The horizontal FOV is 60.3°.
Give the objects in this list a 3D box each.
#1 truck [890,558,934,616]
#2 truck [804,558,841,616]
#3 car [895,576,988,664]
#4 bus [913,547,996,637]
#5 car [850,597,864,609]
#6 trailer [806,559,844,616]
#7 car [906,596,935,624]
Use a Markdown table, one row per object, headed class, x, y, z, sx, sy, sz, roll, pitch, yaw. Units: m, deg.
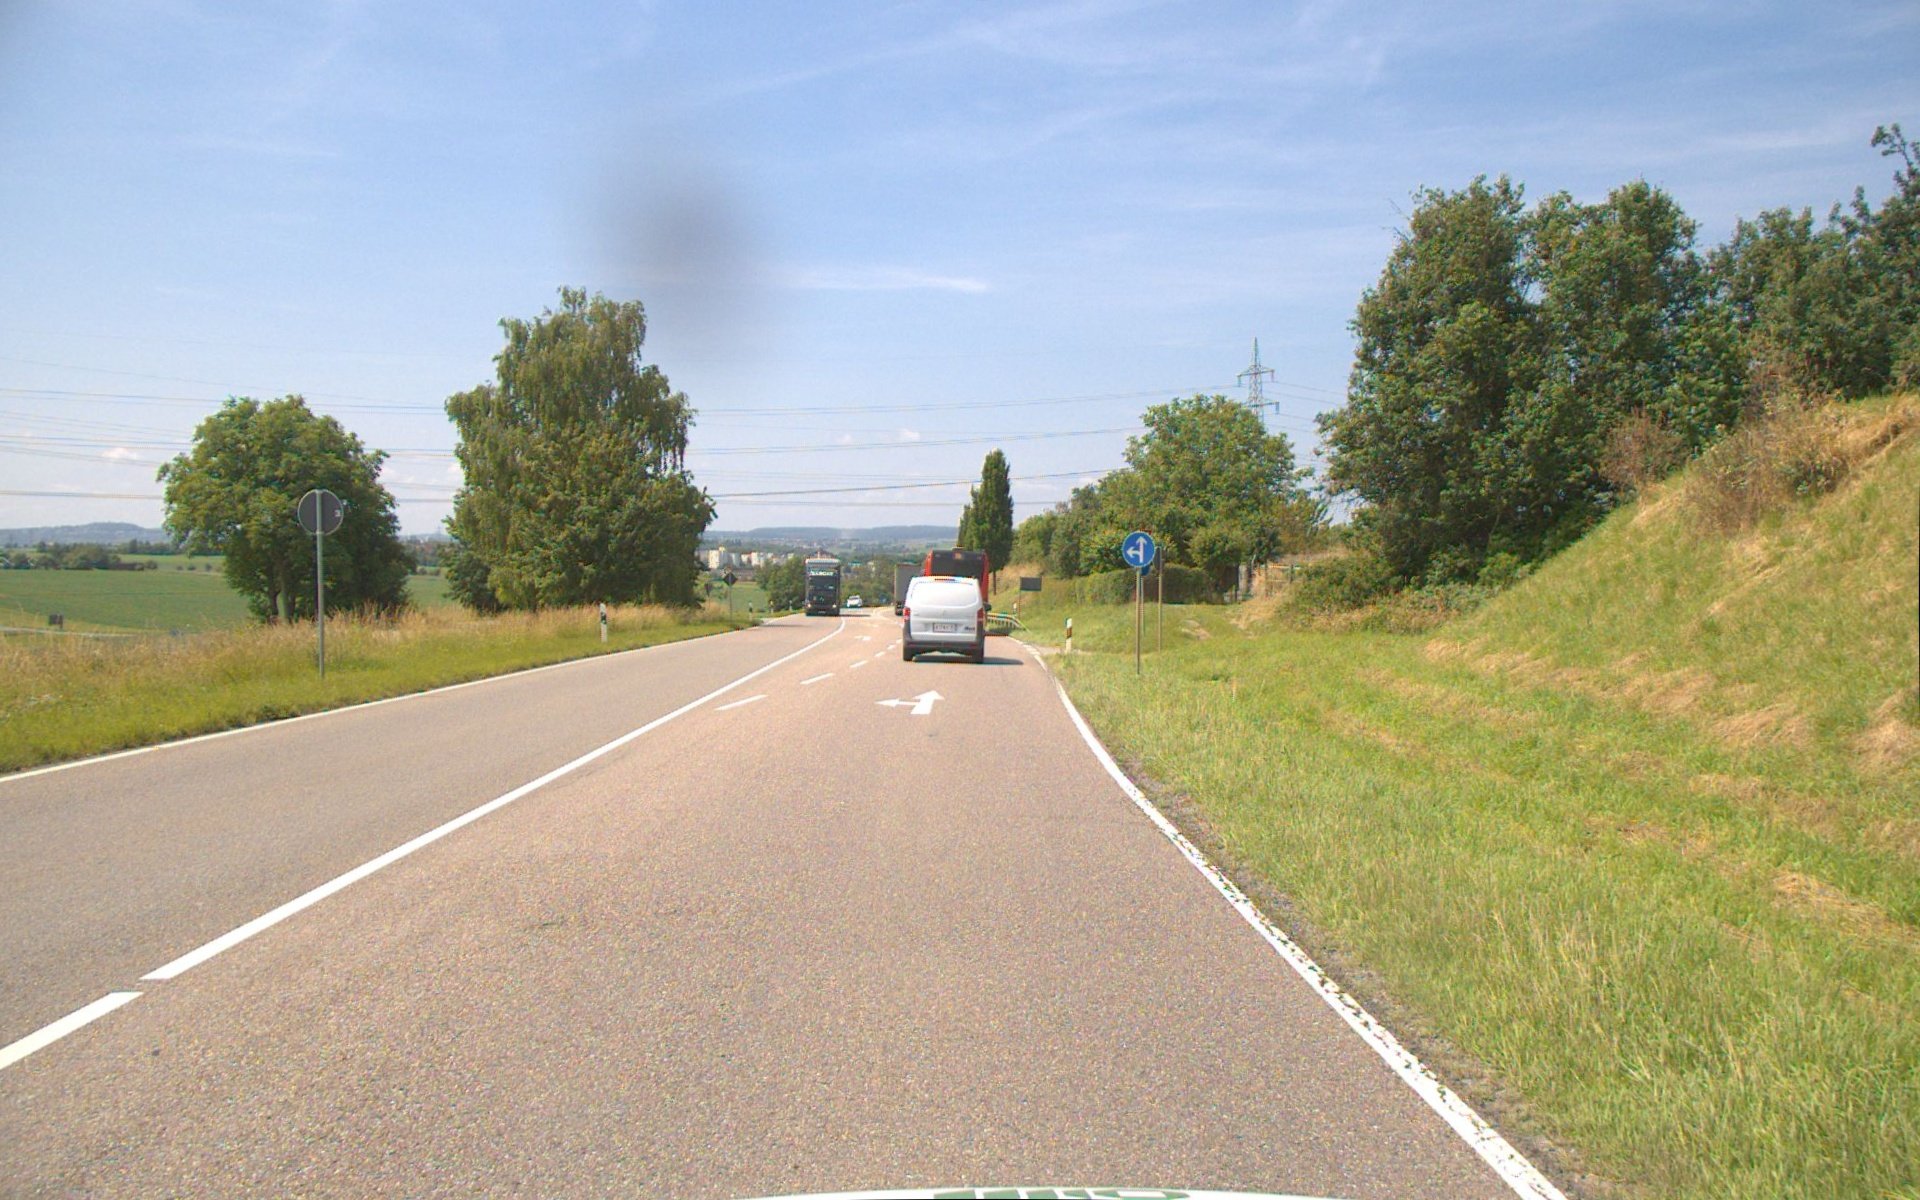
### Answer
| class | x | y | z | sx | sy | sz | roll | pitch | yaw |
| --- | --- | --- | --- | --- | --- | --- | --- | --- | --- |
| truck | -3.993 | -1.092 | 137.784 | 3.418 | 4.500 | 14.897 | -1 | 0 | -2 |
| truck | -10.088 | -0.922 | 121.763 | 2.534 | 4.176 | 5.438 | 1 | 0 | -3 |
| car | -0.369 | 0.422 | 38.299 | 1.883 | 1.922 | 4.002 | -1 | 0 | 3 |
| bus | -0.402 | -0.510 | 70.412 | 2.693 | 3.411 | 13.214 | -2 | 2 | -3 |
| car | -14.199 | 0.446 | 228.149 | 1.816 | 1.593 | 4.073 | -1 | 0 | -2 |
| trailer | -10.448 | -0.927 | 128.736 | 2.541 | 4.215 | 13.732 | 1 | 0 | -3 |
| car | -2.633 | 0.645 | 110.758 | 1.847 | 1.848 | 3.764 | -1 | 0 | -1 |
